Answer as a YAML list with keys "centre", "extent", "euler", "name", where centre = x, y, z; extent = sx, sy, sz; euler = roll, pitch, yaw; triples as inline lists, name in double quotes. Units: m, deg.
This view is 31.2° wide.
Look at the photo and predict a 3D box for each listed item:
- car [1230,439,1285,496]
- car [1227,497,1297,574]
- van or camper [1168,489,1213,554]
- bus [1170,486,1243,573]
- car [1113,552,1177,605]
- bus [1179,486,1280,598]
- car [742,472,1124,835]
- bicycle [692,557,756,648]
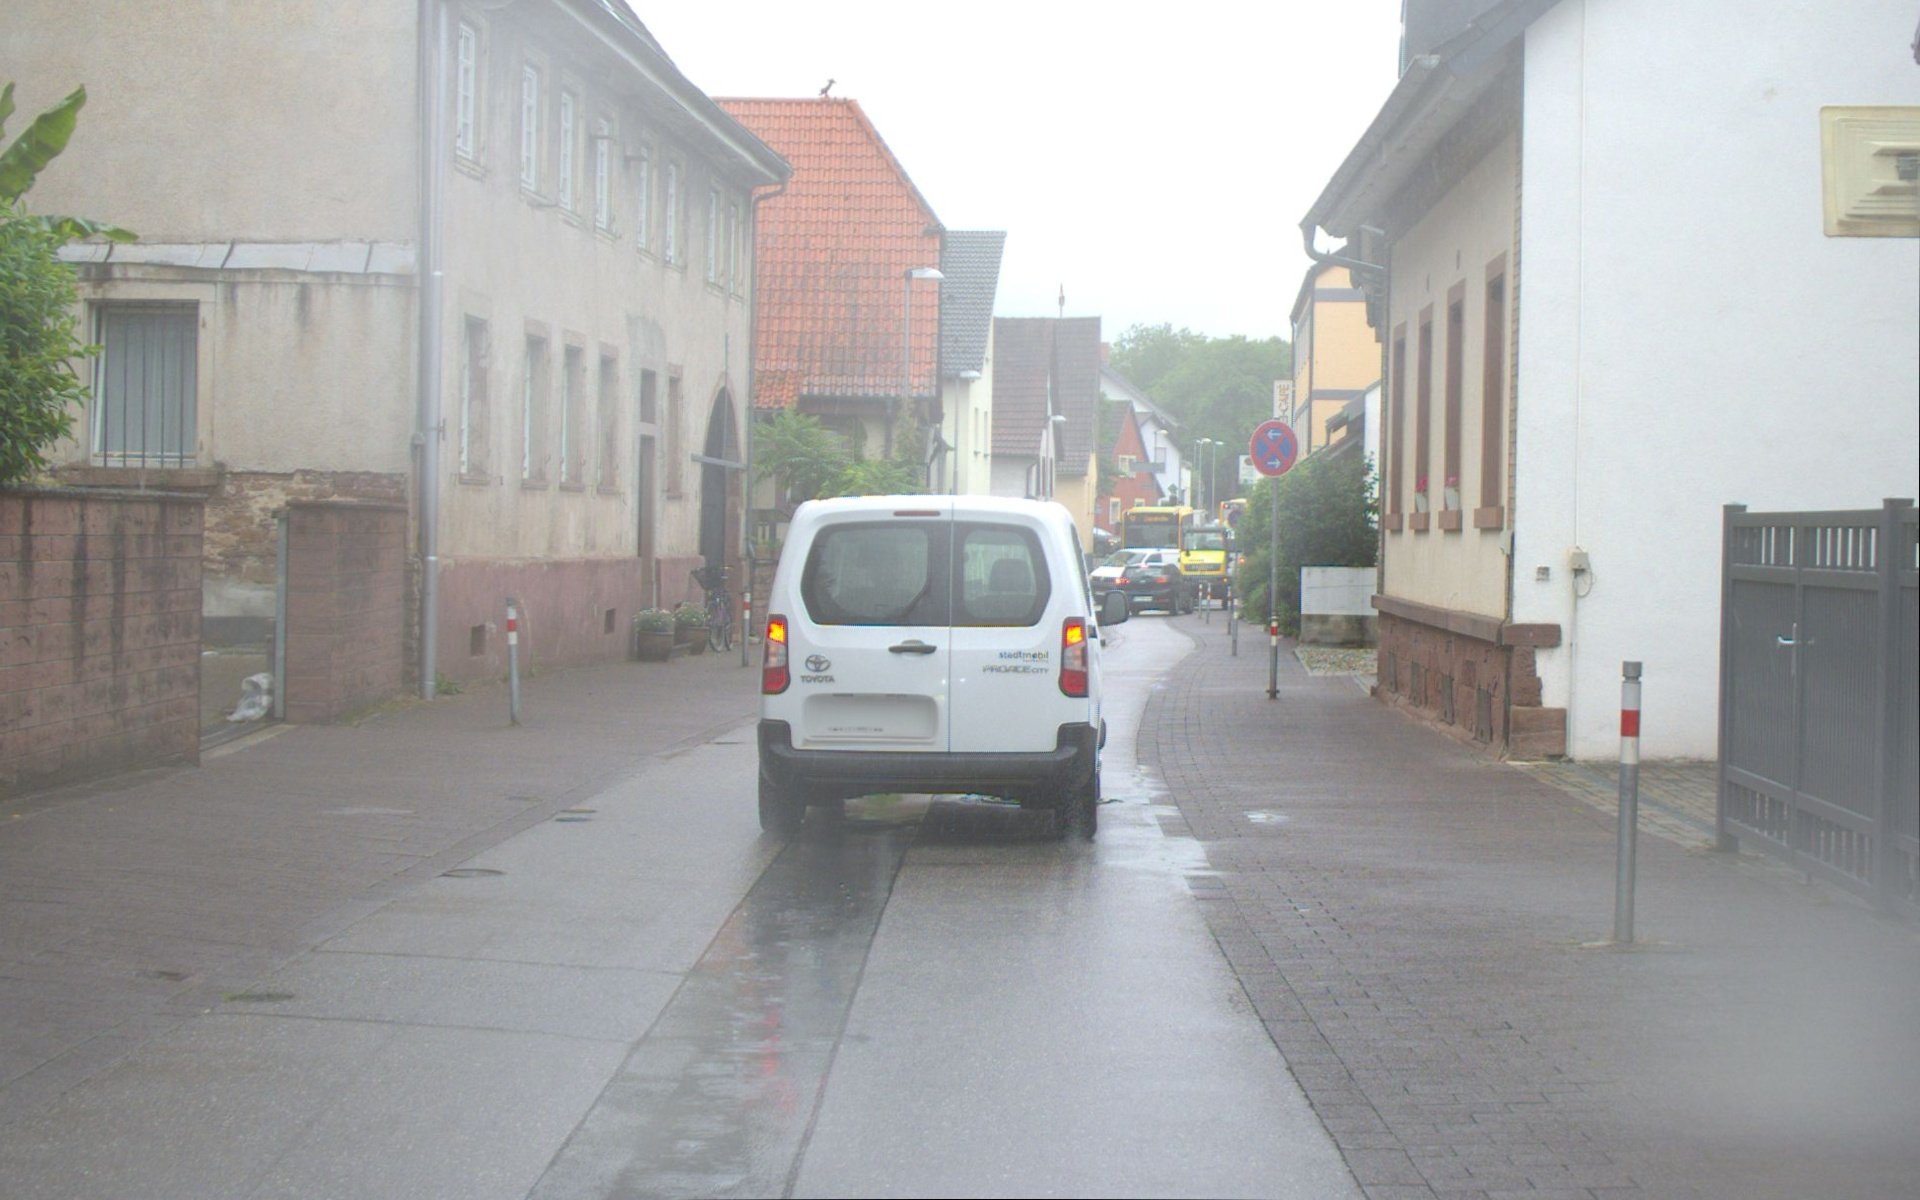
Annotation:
- centre: [11.688, -5.169, 134.730]
  extent: [1.994, 2.007, 3.999]
  euler: [3, 0, 6]
  name: "car"
- centre: [8.417, -1.773, 96.047]
  extent: [1.827, 2.007, 3.693]
  euler: [3, 0, 5]
  name: "car"
- centre: [11.179, -3.776, 166.357]
  extent: [1.835, 2.915, 5.362]
  euler: [3, 0, 6]
  name: "van or camper"
- centre: [10.448, -2.932, 145.232]
  extent: [2.794, 3.317, 8.176]
  euler: [3, 0, 5]
  name: "bus"
- centre: [5.138, -0.585, 95.016]
  extent: [1.562, 1.367, 3.584]
  euler: [3, 0, 5]
  name: "car"
- centre: [8.324, -1.724, 106.098]
  extent: [2.794, 3.169, 8.176]
  euler: [3, 0, 5]
  name: "bus"
- centre: [-0.041, 0.269, 19.268]
  extent: [1.795, 1.812, 4.101]
  euler: [0, 0, 4]
  name: "car"
- centre: [-3.150, 0.034, 46.069]
  extent: [0.483, 1.176, 1.835]
  euler: [3, 0, 6]
  name: "bicycle"
